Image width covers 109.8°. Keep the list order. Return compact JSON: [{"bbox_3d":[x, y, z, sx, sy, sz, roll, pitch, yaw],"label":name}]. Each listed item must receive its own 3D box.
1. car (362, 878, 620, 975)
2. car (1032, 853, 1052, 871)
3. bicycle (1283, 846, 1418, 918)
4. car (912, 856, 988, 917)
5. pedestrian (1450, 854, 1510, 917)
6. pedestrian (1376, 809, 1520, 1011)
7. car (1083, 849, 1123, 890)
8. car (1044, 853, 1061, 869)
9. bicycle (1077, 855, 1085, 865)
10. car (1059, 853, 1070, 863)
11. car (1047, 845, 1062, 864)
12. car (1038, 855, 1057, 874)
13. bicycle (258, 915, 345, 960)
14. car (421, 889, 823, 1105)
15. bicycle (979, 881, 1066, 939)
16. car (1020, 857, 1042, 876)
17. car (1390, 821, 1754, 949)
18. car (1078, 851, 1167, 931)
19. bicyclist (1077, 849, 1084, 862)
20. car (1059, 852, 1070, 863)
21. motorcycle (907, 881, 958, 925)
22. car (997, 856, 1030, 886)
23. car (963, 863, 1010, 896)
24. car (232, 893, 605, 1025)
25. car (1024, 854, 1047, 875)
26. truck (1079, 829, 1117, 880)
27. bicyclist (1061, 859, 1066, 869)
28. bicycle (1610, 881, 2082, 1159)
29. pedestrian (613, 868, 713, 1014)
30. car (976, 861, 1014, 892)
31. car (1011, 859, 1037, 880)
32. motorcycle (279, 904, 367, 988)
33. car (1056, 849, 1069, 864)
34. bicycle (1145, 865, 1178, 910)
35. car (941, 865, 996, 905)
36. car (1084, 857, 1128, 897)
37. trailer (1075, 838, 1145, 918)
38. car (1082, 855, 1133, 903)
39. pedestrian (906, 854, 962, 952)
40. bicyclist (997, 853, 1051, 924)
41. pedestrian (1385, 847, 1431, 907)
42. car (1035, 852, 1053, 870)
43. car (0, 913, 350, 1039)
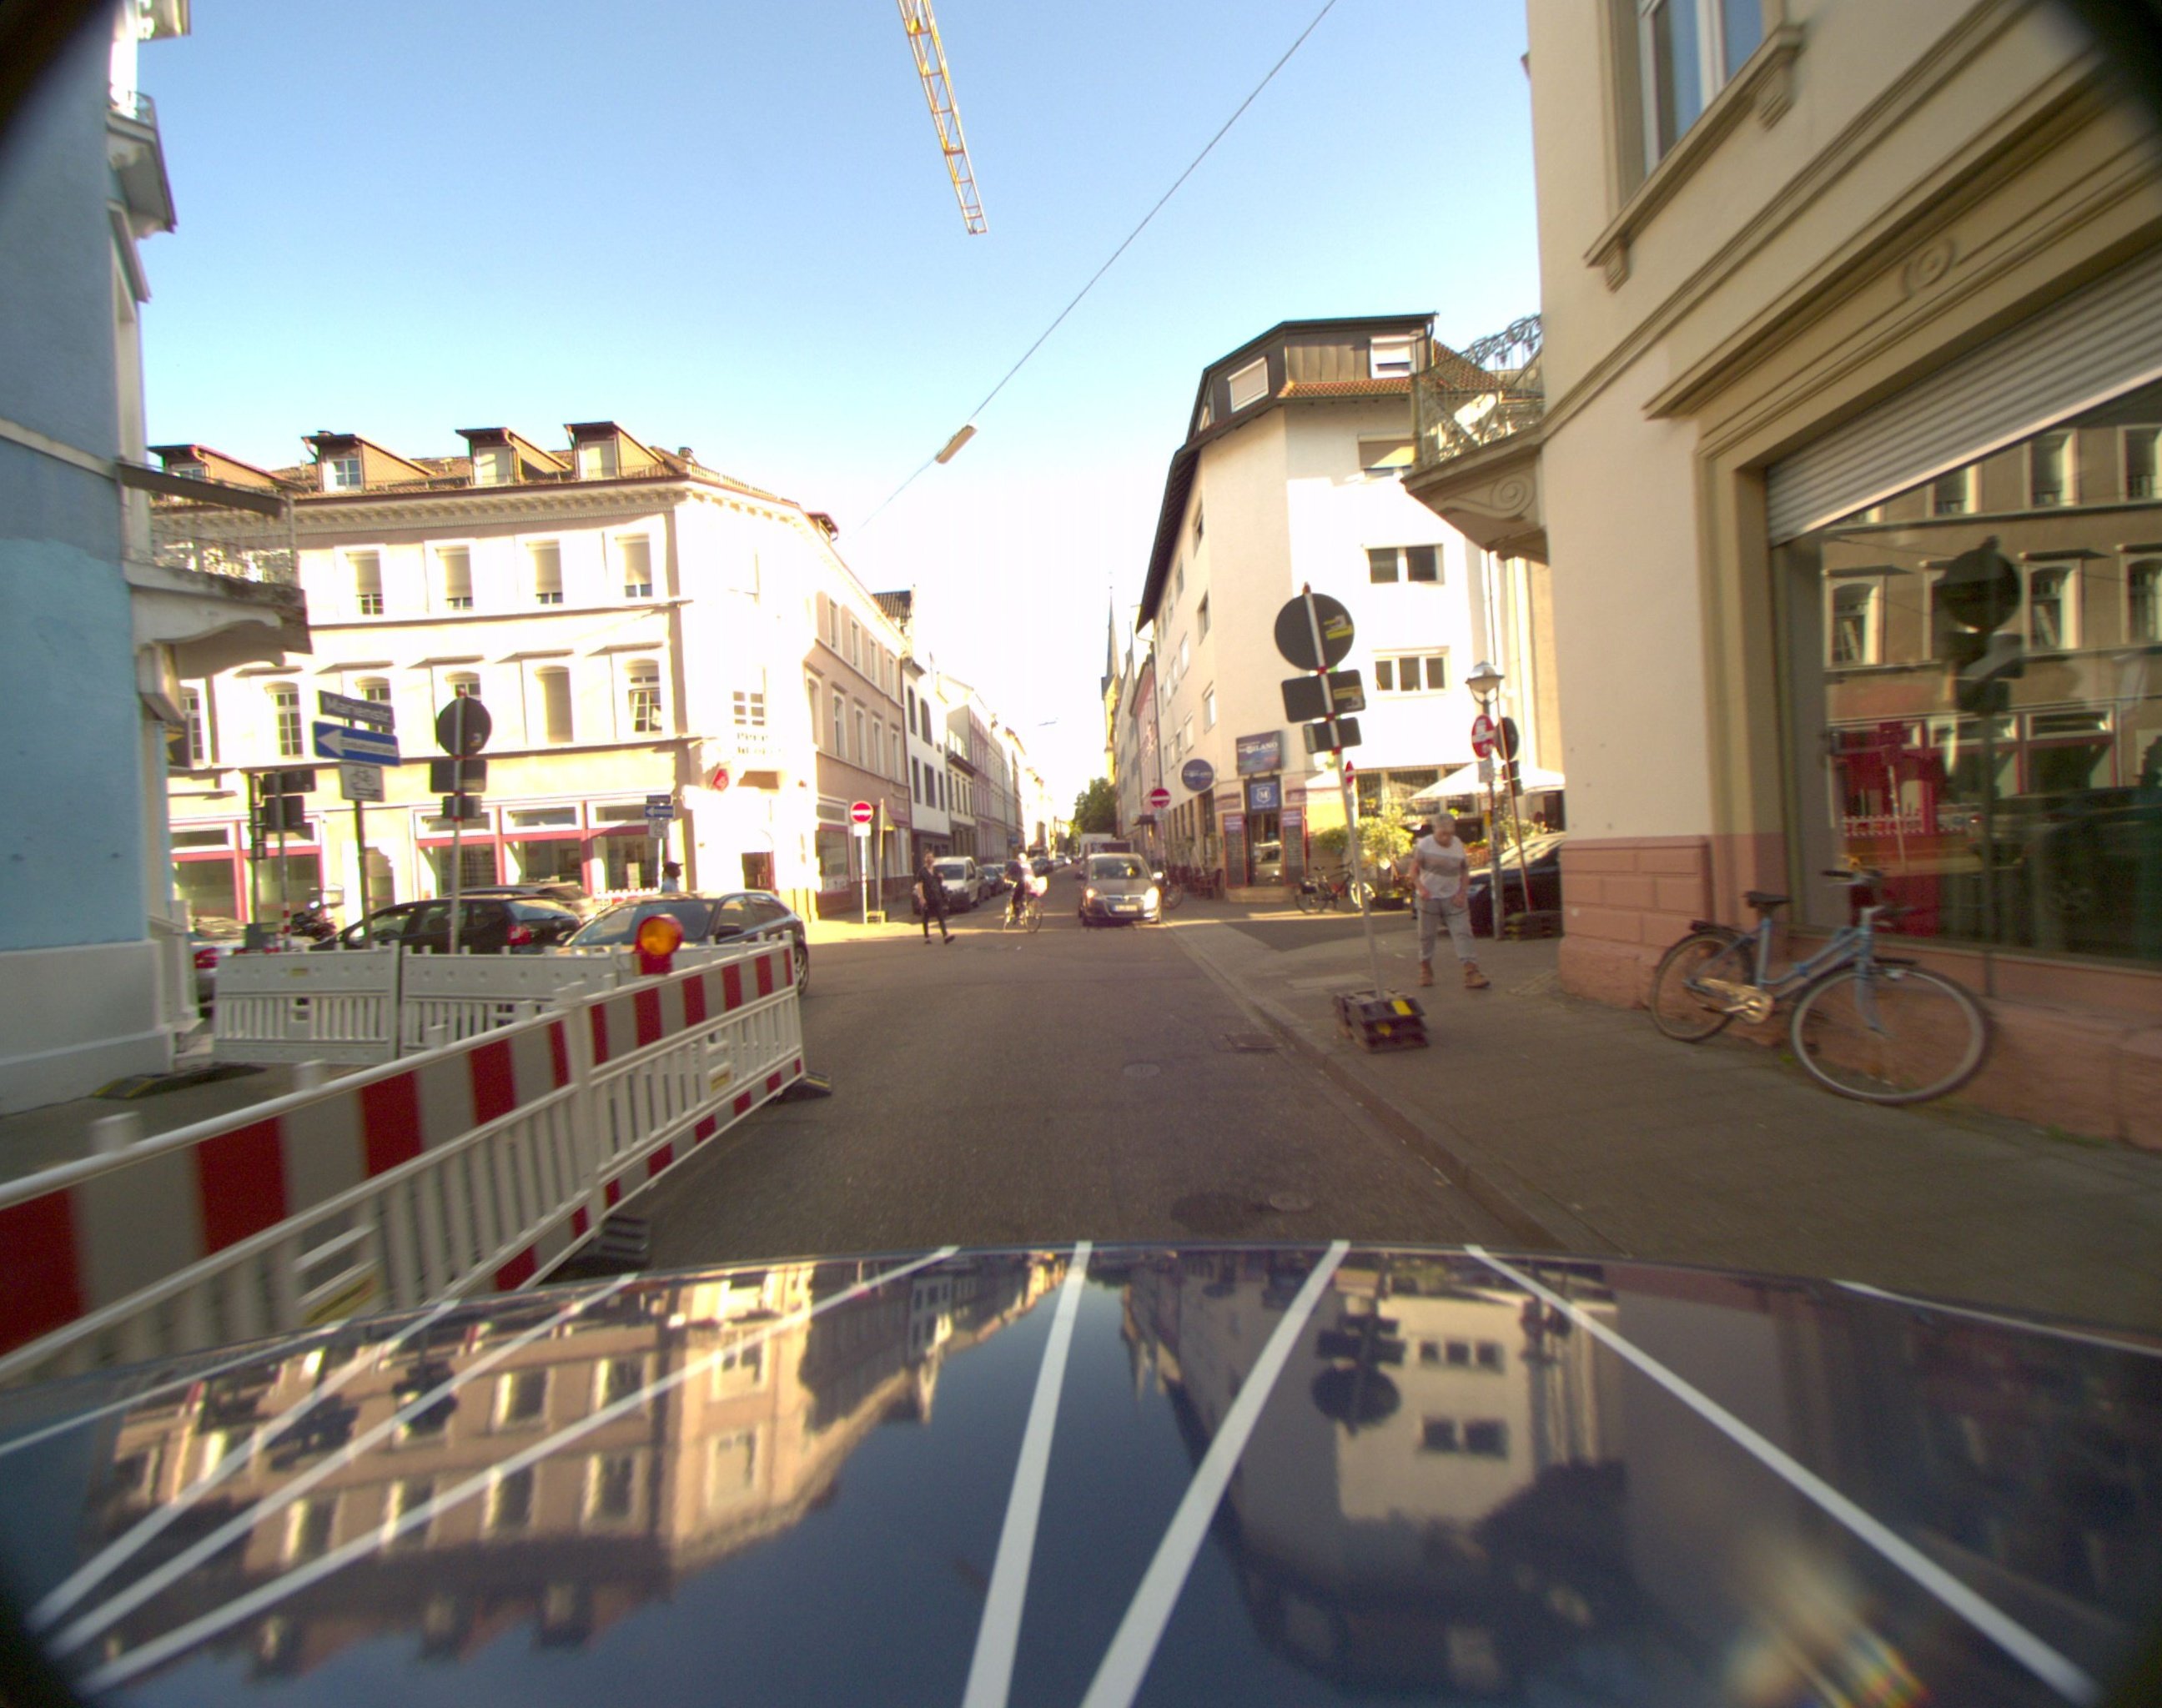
[{"bbox_3d":[-12.796,1.539,16.686,4.069,1.623,1.855,-4,3,1],"label":"car"},{"bbox_3d":[-3.872,0.769,75.743,1.713,1.721,4.220,-2,1,0],"label":"car"},{"bbox_3d":[5.709,0.574,16.219,2.481,1.351,0.928,-3,1,1],"label":"bicycle"},{"bbox_3d":[-4.311,1.013,25.682,1.753,1.806,4.369,-2,1,0],"label":"car"},{"bbox_3d":[8.590,0.673,16.383,0.850,1.259,0.706,-4,1,4],"label":"pedestrian"},{"bbox_3d":[3.374,0.503,7.081,0.695,1.691,0.865,-8,-1,1],"label":"pedestrian"},{"bbox_3d":[1.033,0.729,37.847,1.807,1.834,4.243,-3,1,0],"label":"car"},{"bbox_3d":[-3.881,0.936,102.519,1.999,2.002,4.562,-5,1,-3],"label":"car"},{"bbox_3d":[-0.042,1.139,144.311,1.020,1.641,3.546,-5,1,-4],"label":"bicycle"},{"bbox_3d":[-3.451,0.794,154.877,1.999,2.002,4.562,-5,1,-3],"label":"car"},{"bbox_3d":[-4.185,0.036,120.085,1.999,2.777,4.562,-5,1,-3],"label":"car"},{"bbox_3d":[-3.899,1.191,89.889,1.999,2.002,4.563,-5,1,-2],"label":"car"},{"bbox_3d":[-19.878,2.123,19.392,1.644,1.003,0.455,-4,1,-2],"label":"bicycle"},{"bbox_3d":[-4.397,1.247,8.168,1.776,1.426,4.033,-4,0,0],"label":"car"},{"bbox_3d":[-1.268,1.166,16.146,1.929,1.105,0.712,-3,1,45],"label":"bicycle"},{"bbox_3d":[-4.193,1.010,64.146,1.613,1.444,3.881,-2,1,0],"label":"car"},{"bbox_3d":[6.997,0.419,11.126,4.150,1.447,1.759,-4,0,-1],"label":"car"},{"bbox_3d":[0.858,0.784,17.818,1.726,1.596,4.166,-2,0,-1],"label":"car"},{"bbox_3d":[-0.128,0.285,144.281,1.020,2.280,1.531,-5,1,-4],"label":"bicyclist"},{"bbox_3d":[-3.412,0.739,160.541,1.999,2.002,4.562,-5,1,-3],"label":"car"},{"bbox_3d":[-4.331,1.411,22.336,0.720,1.080,1.997,-3,1,11],"label":"motorcycle"},{"bbox_3d":[-4.331,1.051,49.439,1.713,1.721,4.407,-2,1,0],"label":"car"},{"bbox_3d":[-4.531,1.191,36.815,1.736,1.388,3.881,-2,1,0],"label":"car"},{"bbox_3d":[-9.426,1.458,11.041,3.877,1.445,1.677,-4,0,1],"label":"car"},{"bbox_3d":[-4.092,0.928,69.047,1.713,1.721,4.220,-2,1,0],"label":"car"},{"bbox_3d":[1.179,-0.015,52.172,2.296,3.165,7.044,-3,1,2],"label":"truck"},{"bbox_3d":[-2.995,1.714,129.867,0.716,1.650,0.877,-5,1,-2],"label":"bicyclist"},{"bbox_3d":[3.800,0.723,4.054,0.605,1.016,1.818,-7,0,1],"label":"bicycle"},{"bbox_3d":[-5.678,1.148,10.370,0.771,1.839,0.780,-5,1,-2],"label":"pedestrian"},{"bbox_3d":[-4.630,1.189,41.389,1.620,1.495,3.772,-2,1,0],"label":"car"},{"bbox_3d":[-4.292,1.123,57.266,1.613,1.388,3.881,-2,1,0],"label":"car"},{"bbox_3d":[-16.479,1.973,16.500,2.330,1.639,0.853,-4,1,35],"label":"motorcycle"},{"bbox_3d":[-3.573,0.505,146.140,1.999,2.777,4.562,-5,1,-3],"label":"car"},{"bbox_3d":[2.225,0.915,21.112,0.578,1.132,1.460,-5,1,-5],"label":"bicycle"},{"bbox_3d":[-4.536,1.205,31.013,1.613,1.400,3.881,-2,1,0],"label":"car"},{"bbox_3d":[1.005,0.922,32.479,1.677,1.488,4.530,-2,1,0],"label":"car"},{"bbox_3d":[0.748,0.605,22.195,1.666,2.049,4.362,-2,1,-2],"label":"trailer"},{"bbox_3d":[0.894,0.840,27.603,1.681,1.546,3.817,-2,1,0],"label":"car"},{"bbox_3d":[-2.824,0.890,14.496,0.829,1.782,0.988,-1,1,-23],"label":"pedestrian"},{"bbox_3d":[-1.211,0.724,16.148,0.787,1.427,0.712,-3,1,45],"label":"bicyclist"},{"bbox_3d":[7.295,0.495,16.960,0.687,1.259,0.660,-4,1,4],"label":"pedestrian"},{"bbox_3d":[-3.914,0.766,81.112,1.713,1.802,4.220,-2,1,0],"label":"car"},{"bbox_3d":[-13.843,1.777,11.211,4.480,1.425,1.757,-4,-1,2],"label":"car"}]
